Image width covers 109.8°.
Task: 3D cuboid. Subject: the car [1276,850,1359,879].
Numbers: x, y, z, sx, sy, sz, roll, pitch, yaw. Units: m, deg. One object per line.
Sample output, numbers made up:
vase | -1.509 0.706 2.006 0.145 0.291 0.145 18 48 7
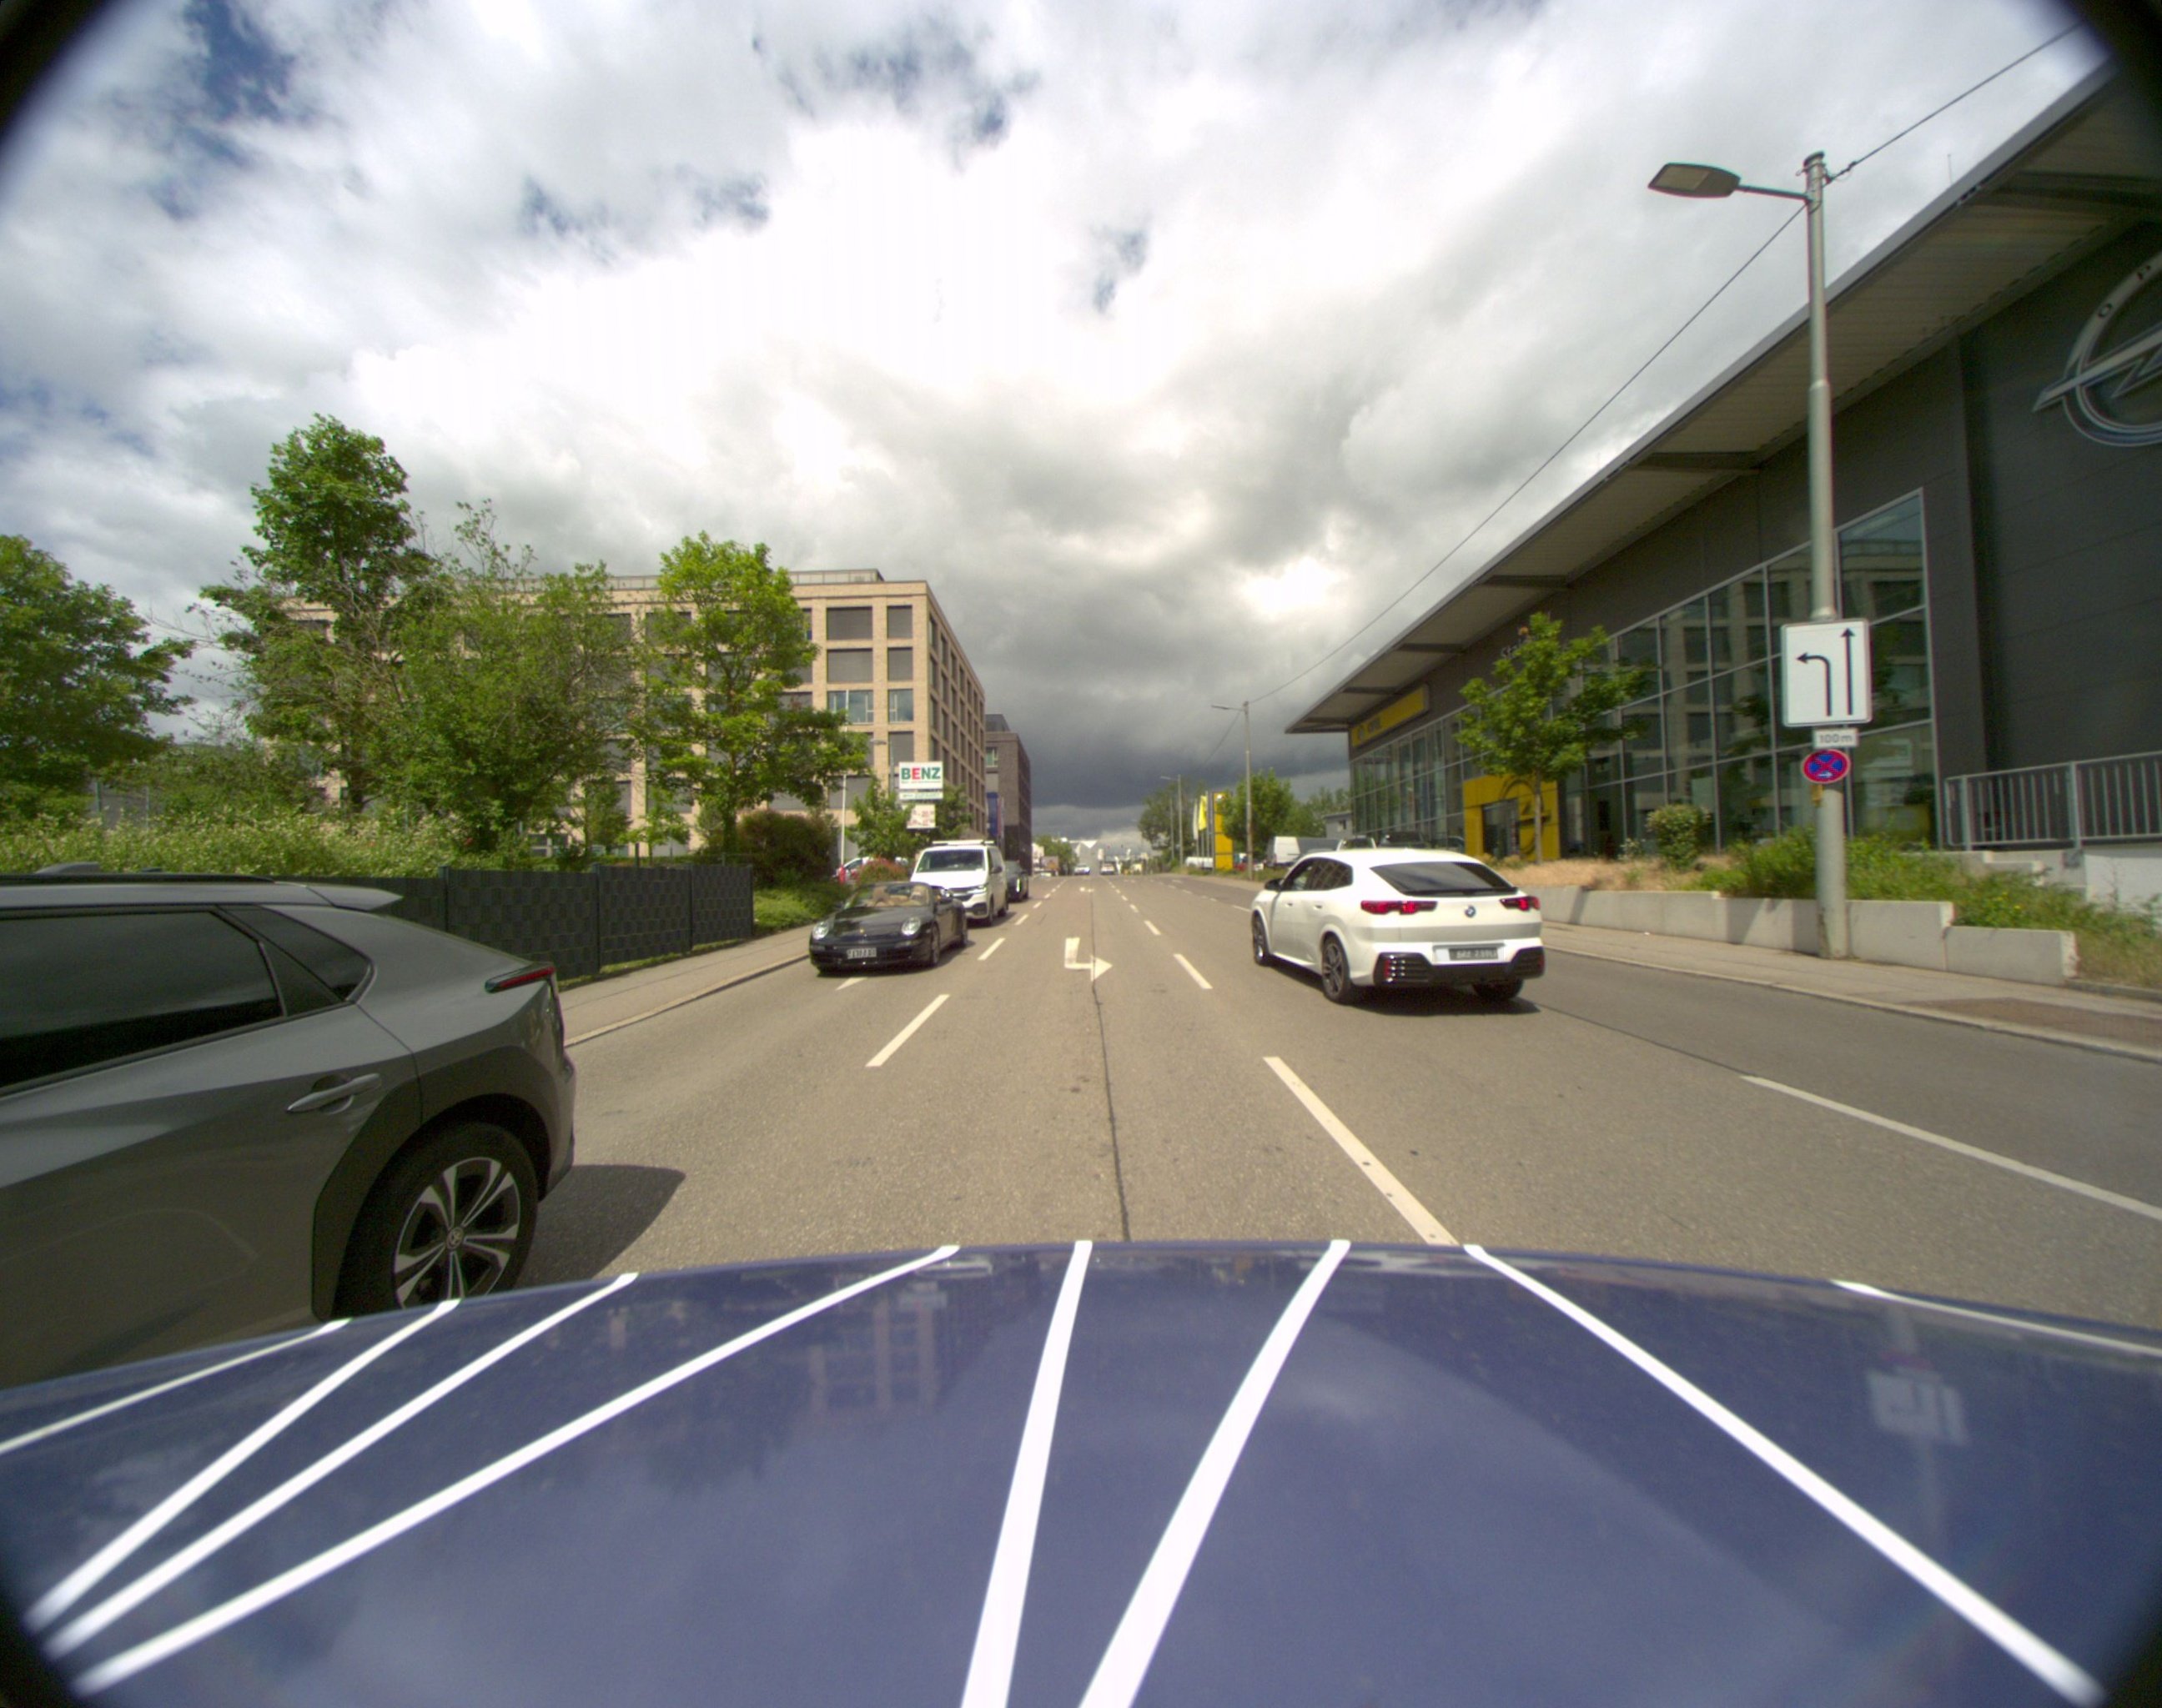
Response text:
car | 13.339 0.578 43.009 4.108 1.604 1.797 -1 0 -8

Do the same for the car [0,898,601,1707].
car | -2.997 1.021 0.777 1.924 1.604 4.683 -3 0 1

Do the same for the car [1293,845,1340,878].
car | 12.159 0.392 39.028 1.794 1.604 4.116 -1 0 24

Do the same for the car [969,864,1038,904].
car | -2.774 1.049 28.194 1.777 1.267 4.569 -1 0 4

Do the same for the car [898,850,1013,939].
car | -2.936 0.884 18.845 1.964 1.840 4.645 -3 0 1

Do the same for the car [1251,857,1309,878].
car | 14.965 1.027 57.282 3.946 1.518 1.561 -1 0 -2

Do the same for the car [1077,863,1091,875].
car | 0.414 1.970 99.500 1.866 1.398 4.000 -1 0 1

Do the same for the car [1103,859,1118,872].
car | 4.173 1.622 108.870 1.924 1.604 4.415 -1 1 1

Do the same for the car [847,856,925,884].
car | -11.644 0.935 45.515 4.220 1.567 1.735 -1 0 -4

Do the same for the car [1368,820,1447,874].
car | 12.409 -0.258 28.711 1.819 1.602 4.117 -13 -6 32

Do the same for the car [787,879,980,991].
car | -2.922 1.147 12.351 1.777 1.267 4.569 -3 0 2

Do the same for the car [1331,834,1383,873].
car | 12.258 -0.053 33.558 1.793 1.604 4.115 -1 1 25

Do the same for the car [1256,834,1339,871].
car | 13.568 -0.102 47.763 4.532 2.182 2.179 -1 1 -2

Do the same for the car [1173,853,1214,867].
car | 12.464 0.657 84.406 4.252 1.473 2.095 -1 0 -2

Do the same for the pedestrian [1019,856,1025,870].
pedestrian | -6.126 0.949 79.013 0.578 1.497 0.542 -1 1 1

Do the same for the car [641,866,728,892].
car | -23.374 1.463 44.914 4.219 1.410 1.735 -1 0 -1

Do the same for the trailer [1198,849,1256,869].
trailer | 13.151 0.484 68.678 4.835 1.742 2.095 -1 0 -3

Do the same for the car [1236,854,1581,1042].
car | 3.268 0.801 8.663 1.833 1.543 4.304 -1 0 -4

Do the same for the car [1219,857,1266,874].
car | 13.710 0.987 64.792 3.669 1.401 1.815 -1 0 2
